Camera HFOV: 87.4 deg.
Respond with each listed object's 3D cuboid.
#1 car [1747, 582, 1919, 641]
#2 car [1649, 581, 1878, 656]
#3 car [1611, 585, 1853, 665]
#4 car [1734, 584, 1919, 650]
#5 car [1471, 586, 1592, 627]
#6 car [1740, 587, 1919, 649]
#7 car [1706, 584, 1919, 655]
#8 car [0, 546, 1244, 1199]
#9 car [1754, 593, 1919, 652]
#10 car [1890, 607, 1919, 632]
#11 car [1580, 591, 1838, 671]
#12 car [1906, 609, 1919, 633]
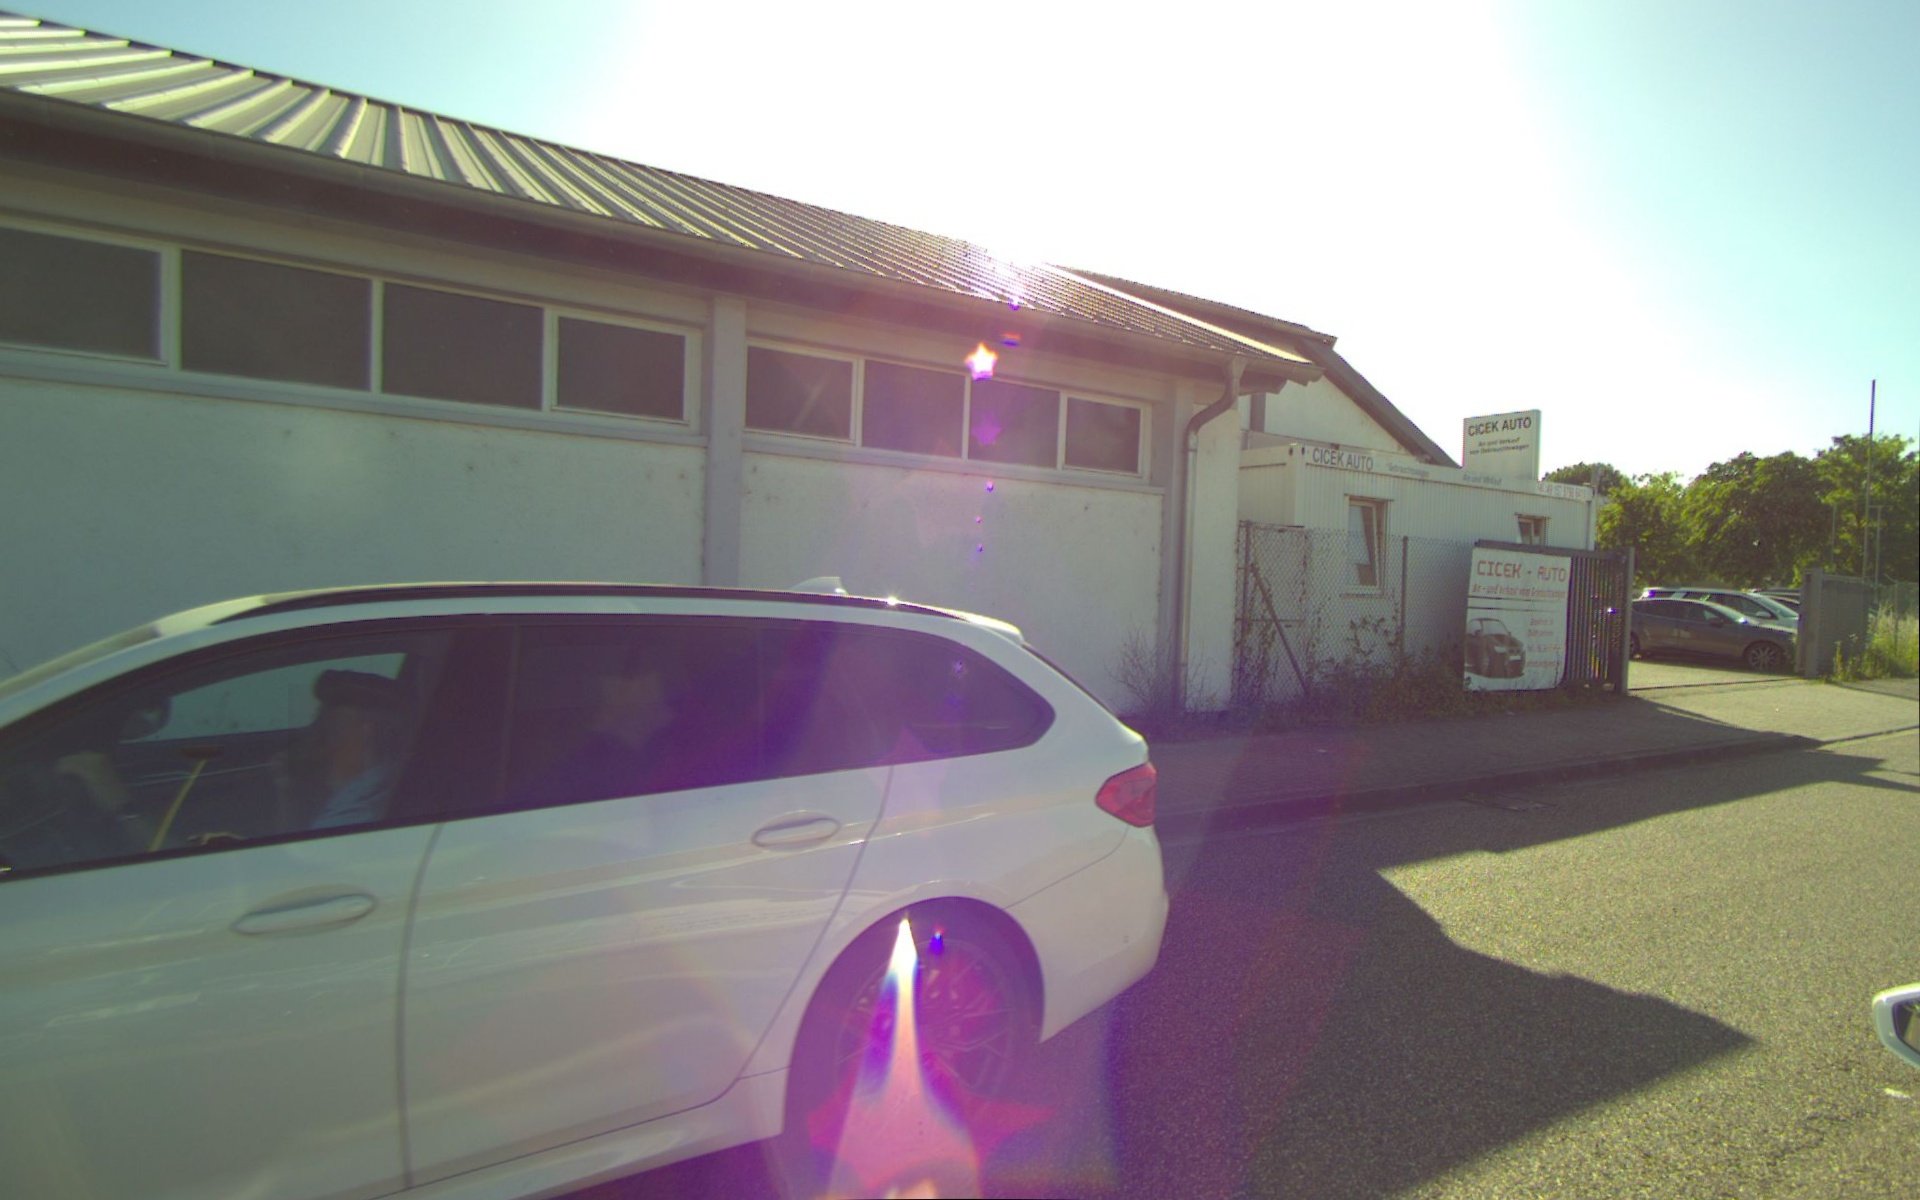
[{"bbox_3d":[31.884,0.391,36.542,4.759,1.918,1.839,2,1,24],"label":"car"},{"bbox_3d":[20.616,0.415,25.930,1.827,1.671,4.349,1,2,-42],"label":"car"},{"bbox_3d":[18.695,0.542,24.488,1.825,1.671,4.352,1,2,-40],"label":"car"},{"bbox_3d":[25.188,0.462,28.884,4.323,1.671,1.837,2,1,28],"label":"car"},{"bbox_3d":[25.811,0.280,45.498,1.824,1.671,4.355,1,2,-38],"label":"car"},{"bbox_3d":[26.661,0.523,30.542,4.323,1.671,1.837,2,1,28],"label":"car"},{"bbox_3d":[23.182,0.472,27.348,1.828,1.671,4.345,1,2,-44],"label":"car"},{"bbox_3d":[-1.570,0.667,2.642,4.634,1.498,1.799,1,0,-31],"label":"car"},{"bbox_3d":[28.567,0.701,32.559,4.337,1.671,1.832,3,2,40],"label":"car"},{"bbox_3d":[59.365,1.251,60.242,1.977,1.445,4.886,1,1,-30],"label":"car"},{"bbox_3d":[16.953,0.627,22.947,1.823,1.527,4.359,1,1,-36],"label":"car"},{"bbox_3d":[61.571,1.401,61.563,1.977,1.504,4.886,1,1,-30],"label":"car"}]
